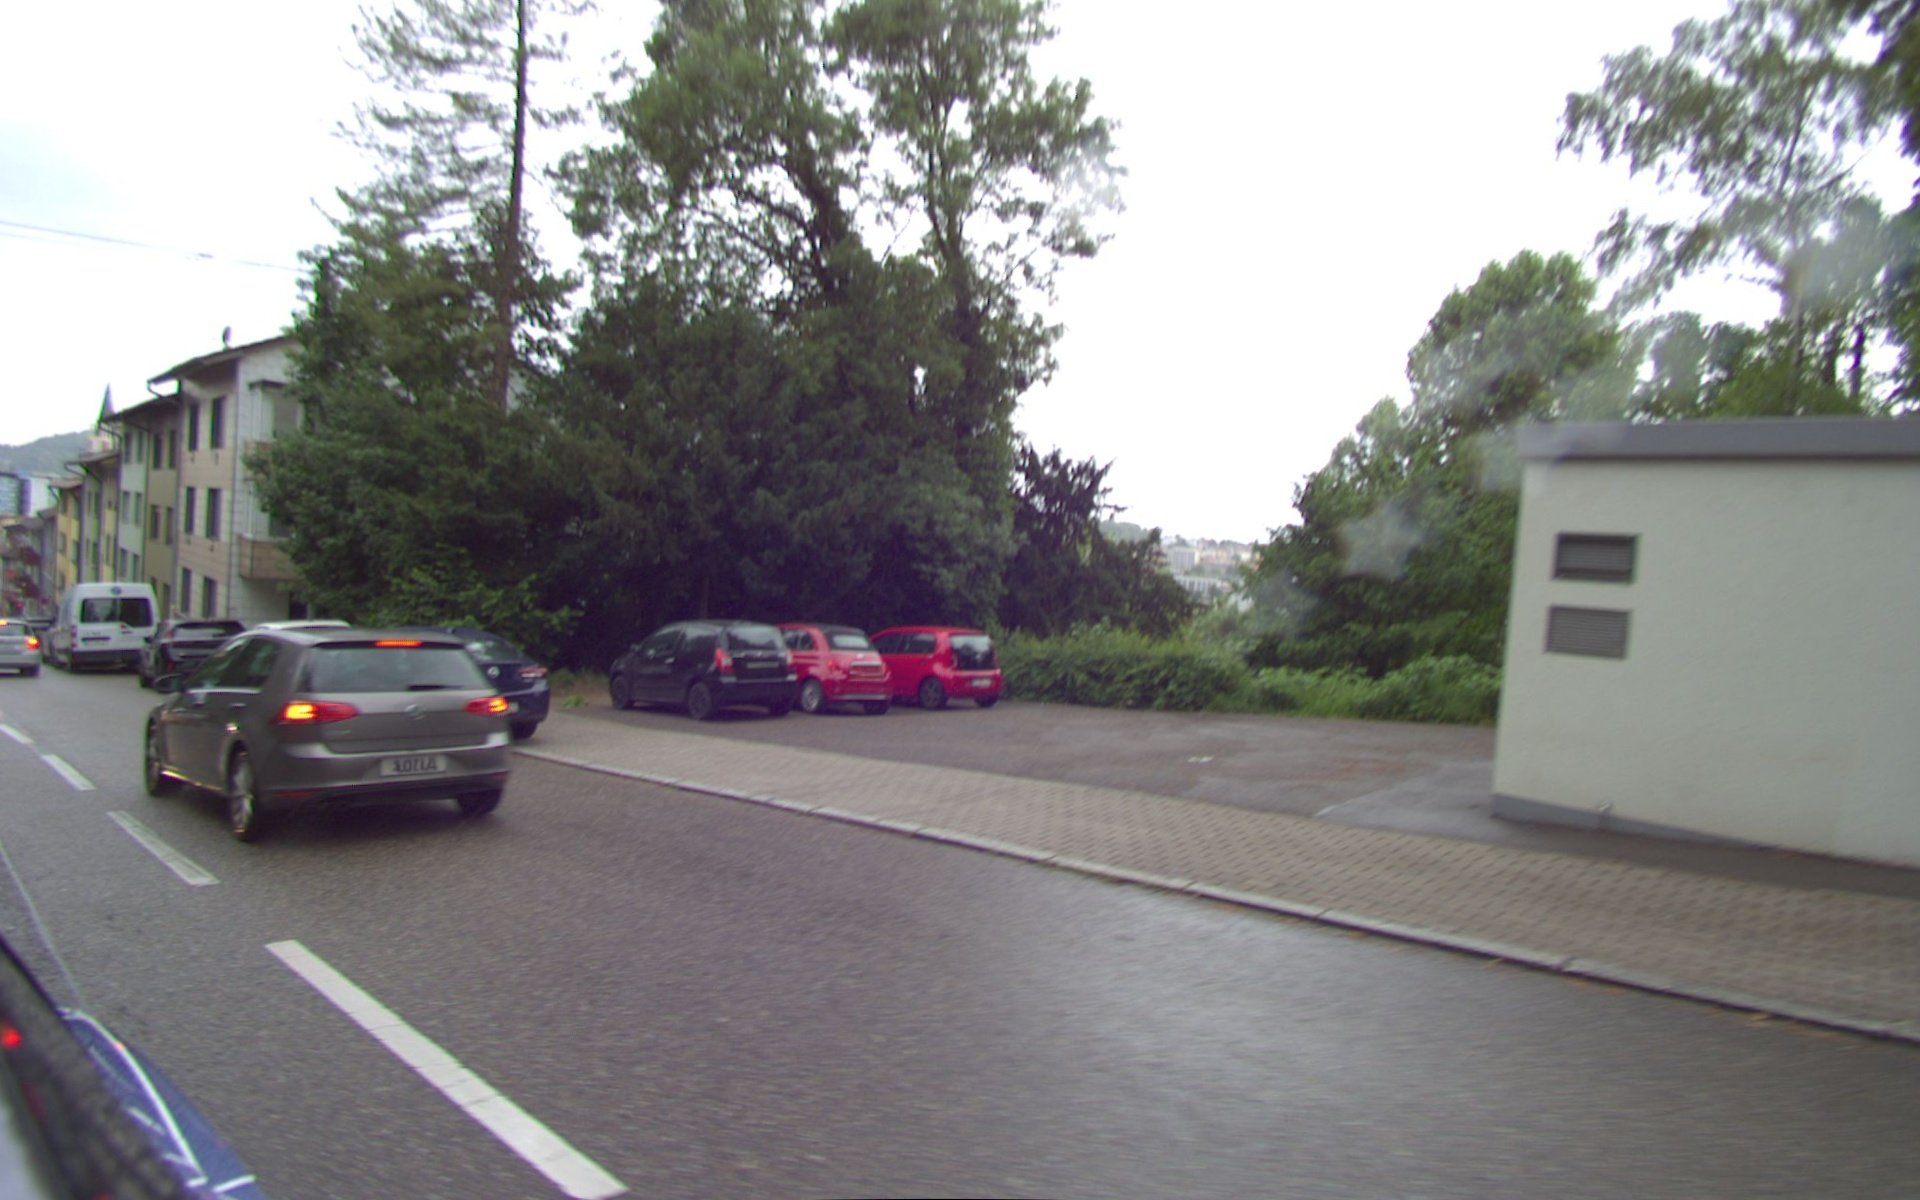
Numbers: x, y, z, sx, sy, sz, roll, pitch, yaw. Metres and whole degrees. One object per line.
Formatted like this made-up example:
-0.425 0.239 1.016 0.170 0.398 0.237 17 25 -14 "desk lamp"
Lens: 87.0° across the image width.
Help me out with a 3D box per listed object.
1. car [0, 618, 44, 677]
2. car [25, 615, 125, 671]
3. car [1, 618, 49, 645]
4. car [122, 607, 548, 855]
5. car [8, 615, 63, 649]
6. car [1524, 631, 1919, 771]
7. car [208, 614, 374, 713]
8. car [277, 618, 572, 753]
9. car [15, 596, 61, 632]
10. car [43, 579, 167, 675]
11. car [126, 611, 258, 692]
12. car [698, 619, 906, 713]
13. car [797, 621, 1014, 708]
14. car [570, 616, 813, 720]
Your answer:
-25.329 1.201 26.316 3.910 1.446 1.706 -1 -4 41 "car"
-30.275 1.447 34.566 4.884 1.753 1.945 -1 -4 42 "car"
-56.808 1.912 61.480 4.001 1.548 1.882 -1 -3 44 "car"
-5.155 0.856 8.141 3.997 1.502 1.742 -1 -3 41 "car"
-46.351 1.579 50.719 4.000 1.606 1.673 -1 -3 43 "car"
9.691 1.146 12.637 4.391 1.470 1.926 -1 -2 39 "car"
-12.086 1.073 18.176 4.150 1.581 1.637 -1 -3 45 "car"
-7.295 1.053 13.570 4.753 1.505 1.840 -1 -5 41 "car"
-70.088 1.091 76.931 5.445 2.570 2.093 -1 -4 44 "car"
-25.155 0.811 29.699 5.445 2.570 2.093 -1 -4 44 "car"
-16.826 1.100 22.101 4.187 1.616 1.626 -1 -4 45 "car"
-2.847 1.080 17.786 3.774 1.470 1.603 -1 -2 42 "car"
-1.121 1.150 19.209 4.241 1.470 1.578 -1 -2 42 "car"
-4.468 1.016 16.495 4.395 1.470 1.704 -1 -2 42 "car"
